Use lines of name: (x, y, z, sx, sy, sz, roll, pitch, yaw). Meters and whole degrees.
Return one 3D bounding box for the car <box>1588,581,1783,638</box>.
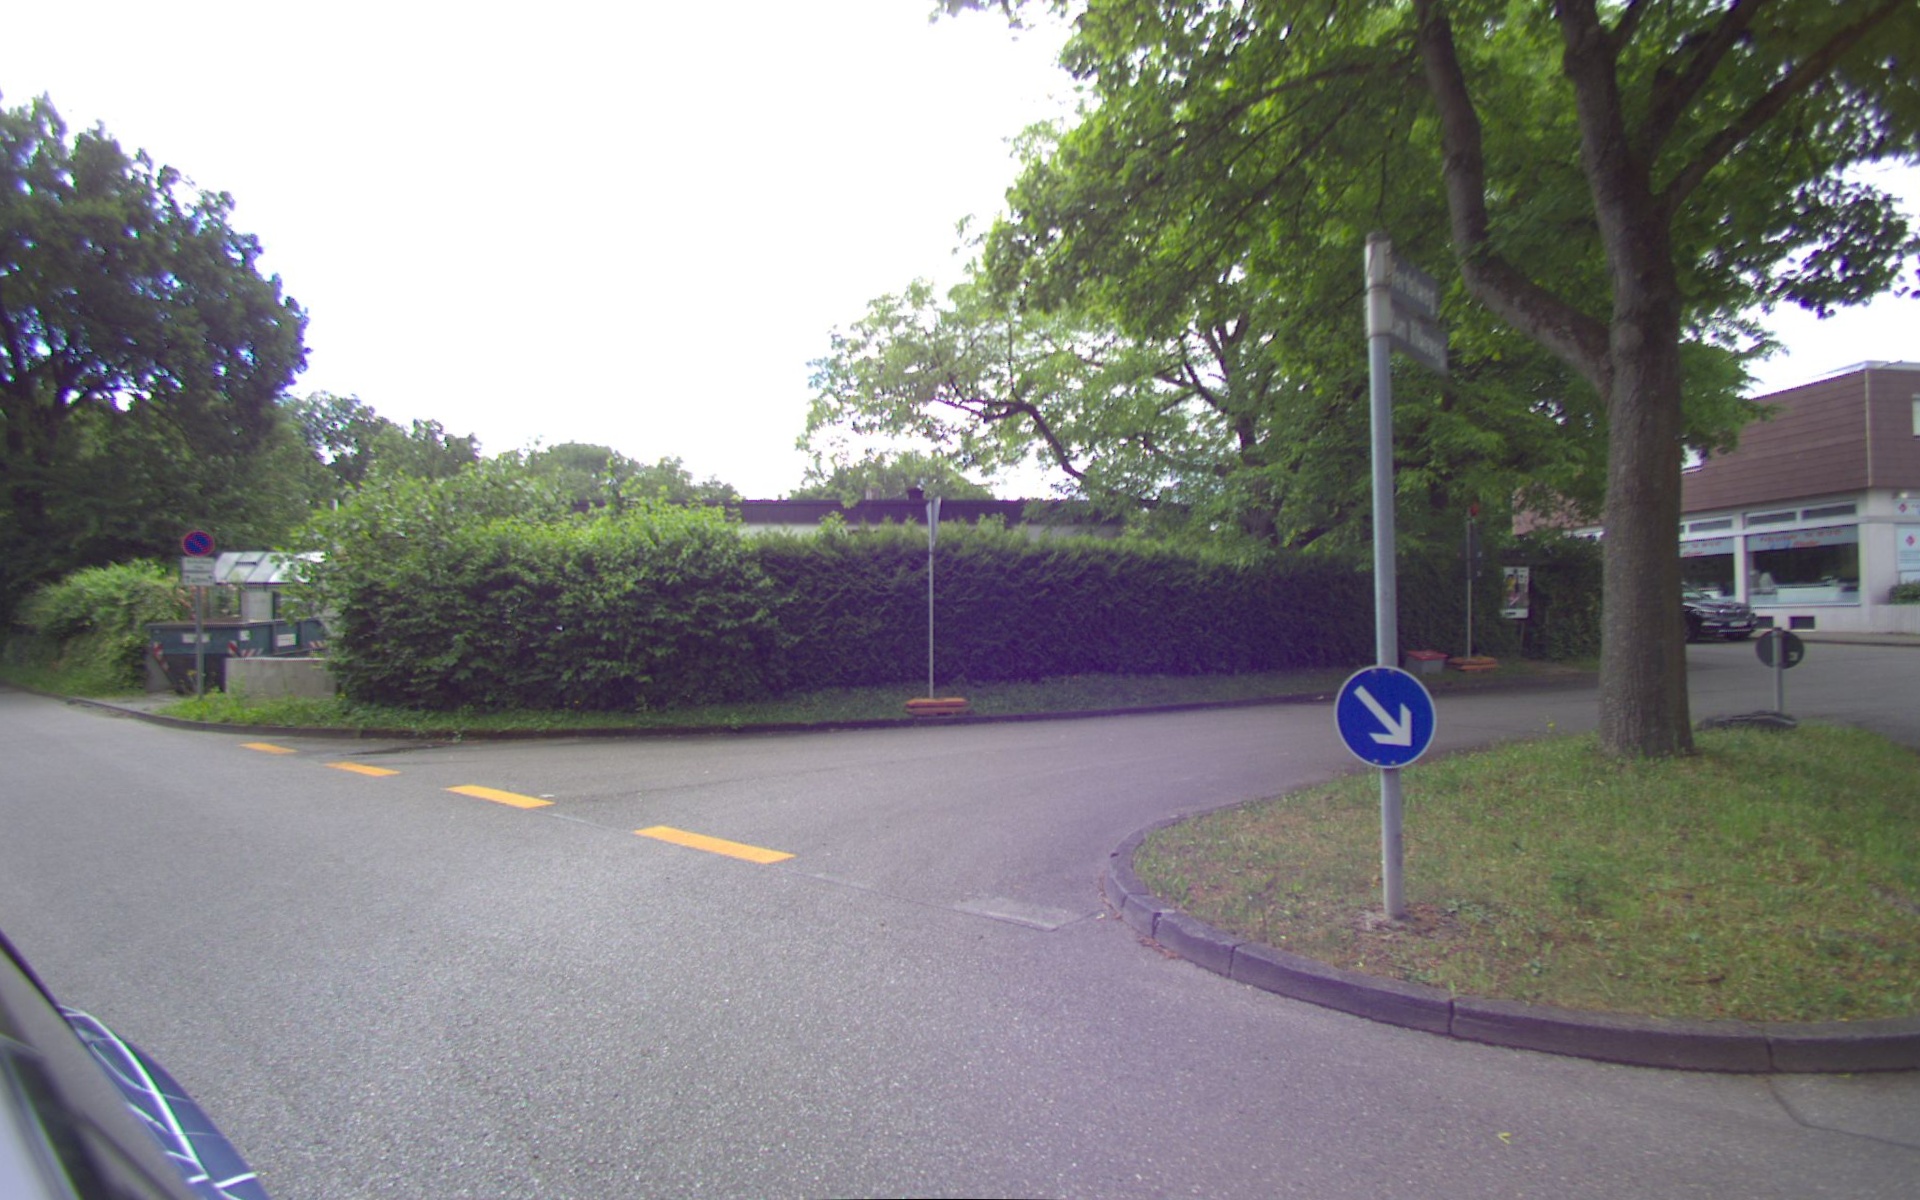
car: (20.013, 0.286, 28.198, 1.969, 1.386, 4.285, -3, -1, -7)
